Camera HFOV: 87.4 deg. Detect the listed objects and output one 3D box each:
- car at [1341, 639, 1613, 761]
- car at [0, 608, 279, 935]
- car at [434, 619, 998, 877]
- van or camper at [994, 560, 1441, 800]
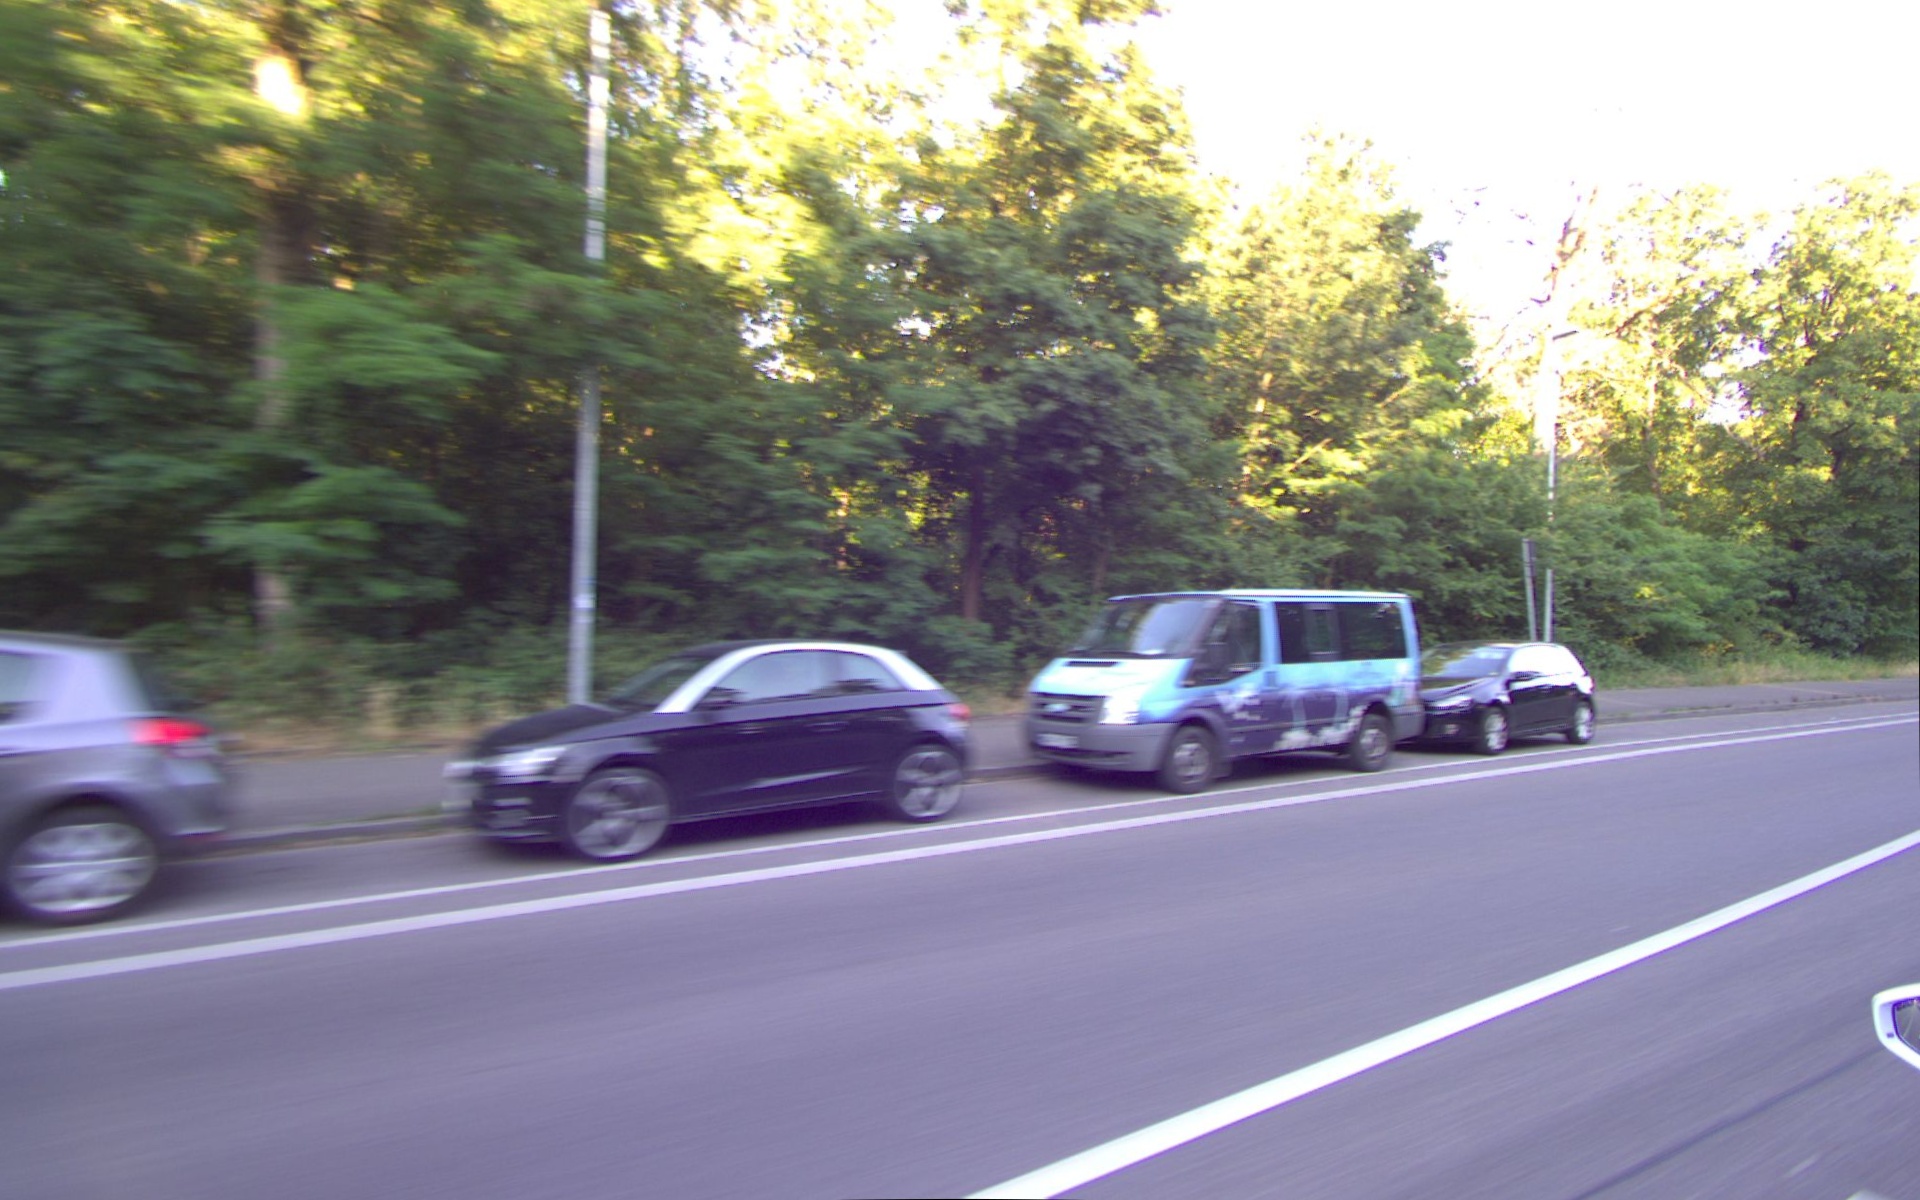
[{"bbox_3d":[7.359,1.300,14.158,4.202,1.481,1.676,2,-3,-36],"label":"car"},{"bbox_3d":[-5.773,0.824,4.925,4.000,1.554,1.606,2,-3,-35],"label":"car"},{"bbox_3d":[-1.715,0.943,7.704,3.934,1.513,1.532,2,-3,-36],"label":"car"},{"bbox_3d":[2.968,0.795,11.138,4.962,2.121,2.019,1,-3,-34],"label":"van or camper"}]
